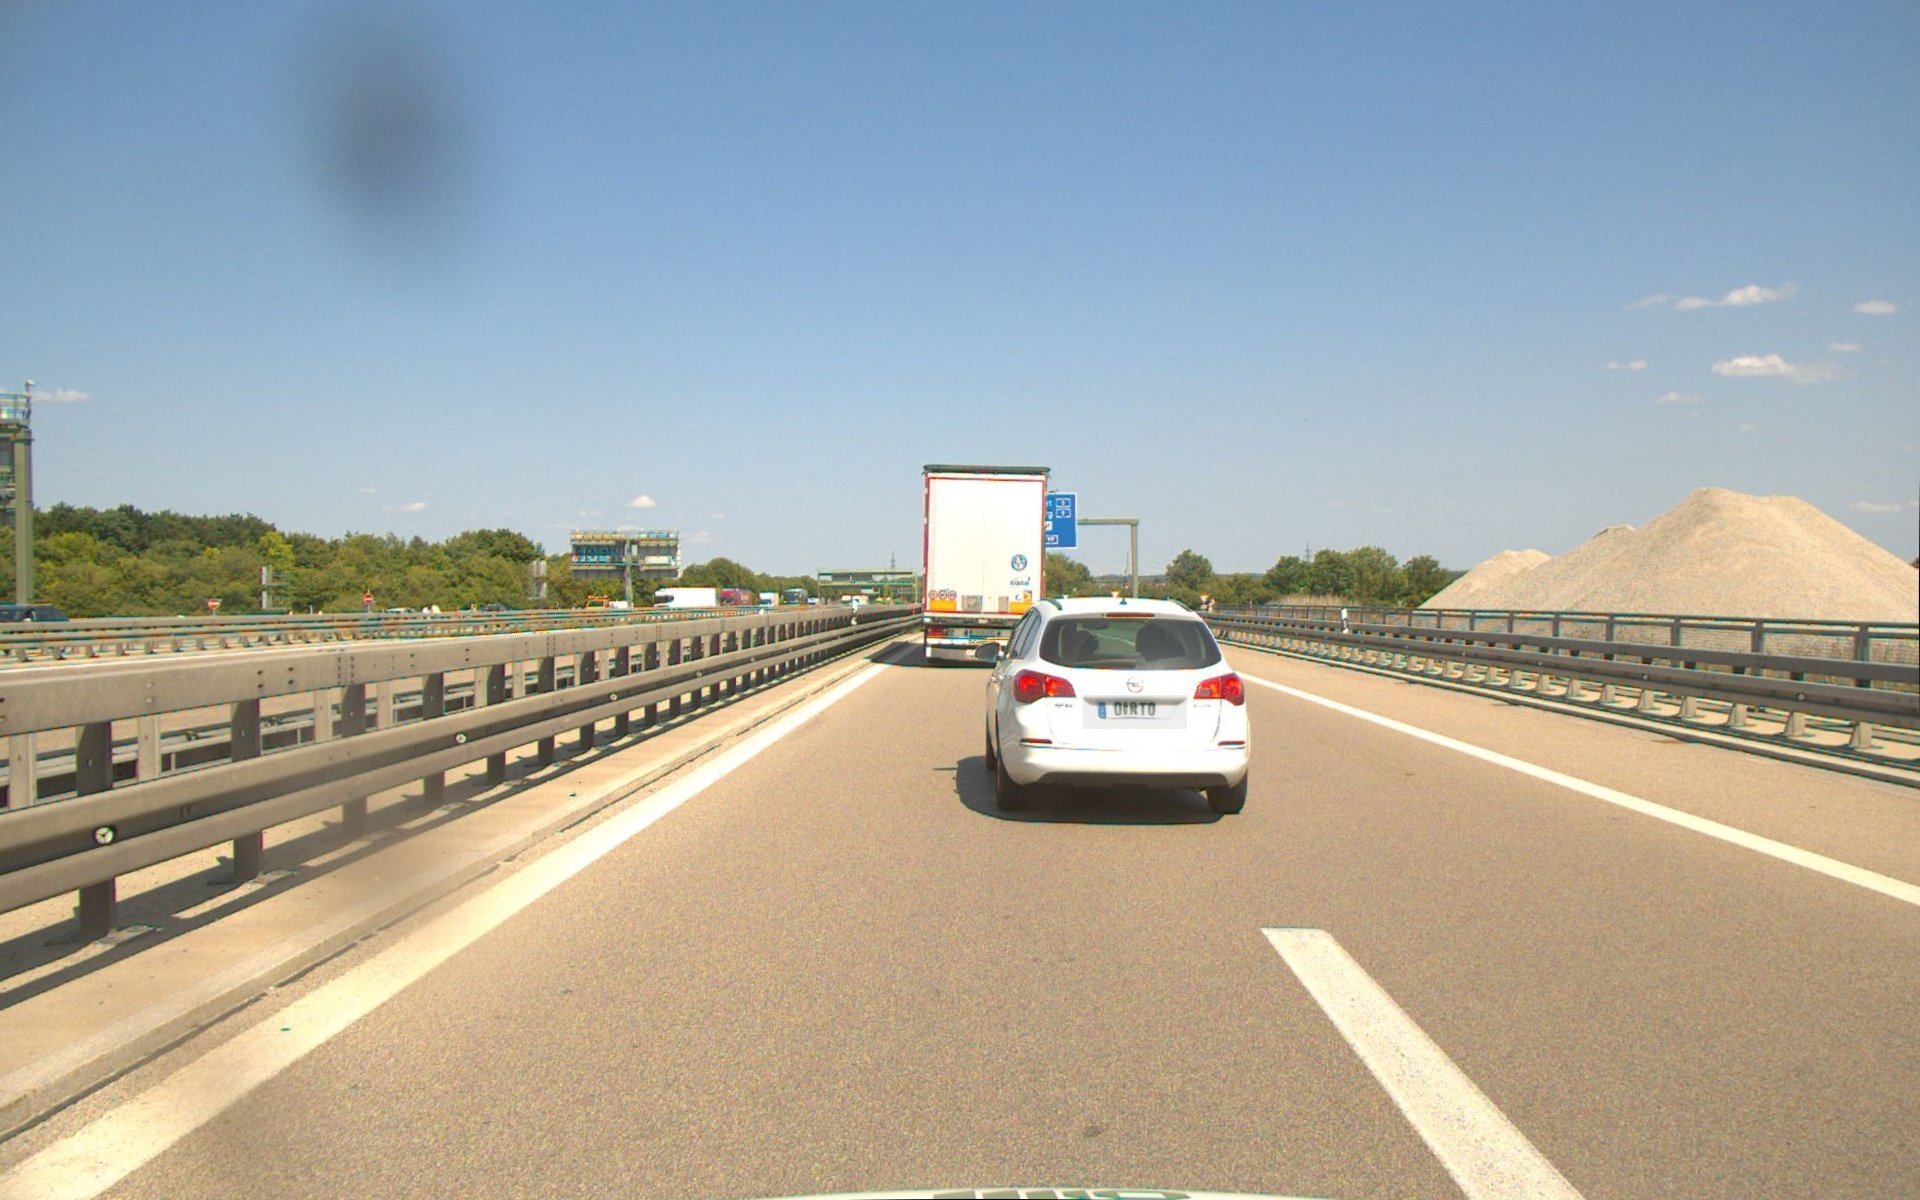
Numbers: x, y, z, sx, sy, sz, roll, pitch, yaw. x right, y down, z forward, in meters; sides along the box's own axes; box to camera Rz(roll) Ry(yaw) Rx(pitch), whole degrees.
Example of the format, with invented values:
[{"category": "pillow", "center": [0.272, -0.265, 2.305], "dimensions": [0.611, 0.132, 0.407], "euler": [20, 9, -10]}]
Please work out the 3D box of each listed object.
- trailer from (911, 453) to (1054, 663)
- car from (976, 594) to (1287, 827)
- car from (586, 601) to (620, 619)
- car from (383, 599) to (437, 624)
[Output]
[{"category": "trailer", "center": [0.581, -0.802, 39.174], "dimensions": [2.852, 4.218, 11.259], "euler": [1, -1, 1]}, {"category": "car", "center": [1.123, 0.703, 12.773], "dimensions": [1.817, 1.468, 4.370], "euler": [1, 0, -2]}, {"category": "car", "center": [-32.310, 0.868, 149.741], "dimensions": [1.800, 1.544, 5.298], "euler": [0, 0, 1]}, {"category": "car", "center": [-34.600, 0.708, 104.203], "dimensions": [1.800, 1.544, 4.532], "euler": [0, 0, 1]}]
